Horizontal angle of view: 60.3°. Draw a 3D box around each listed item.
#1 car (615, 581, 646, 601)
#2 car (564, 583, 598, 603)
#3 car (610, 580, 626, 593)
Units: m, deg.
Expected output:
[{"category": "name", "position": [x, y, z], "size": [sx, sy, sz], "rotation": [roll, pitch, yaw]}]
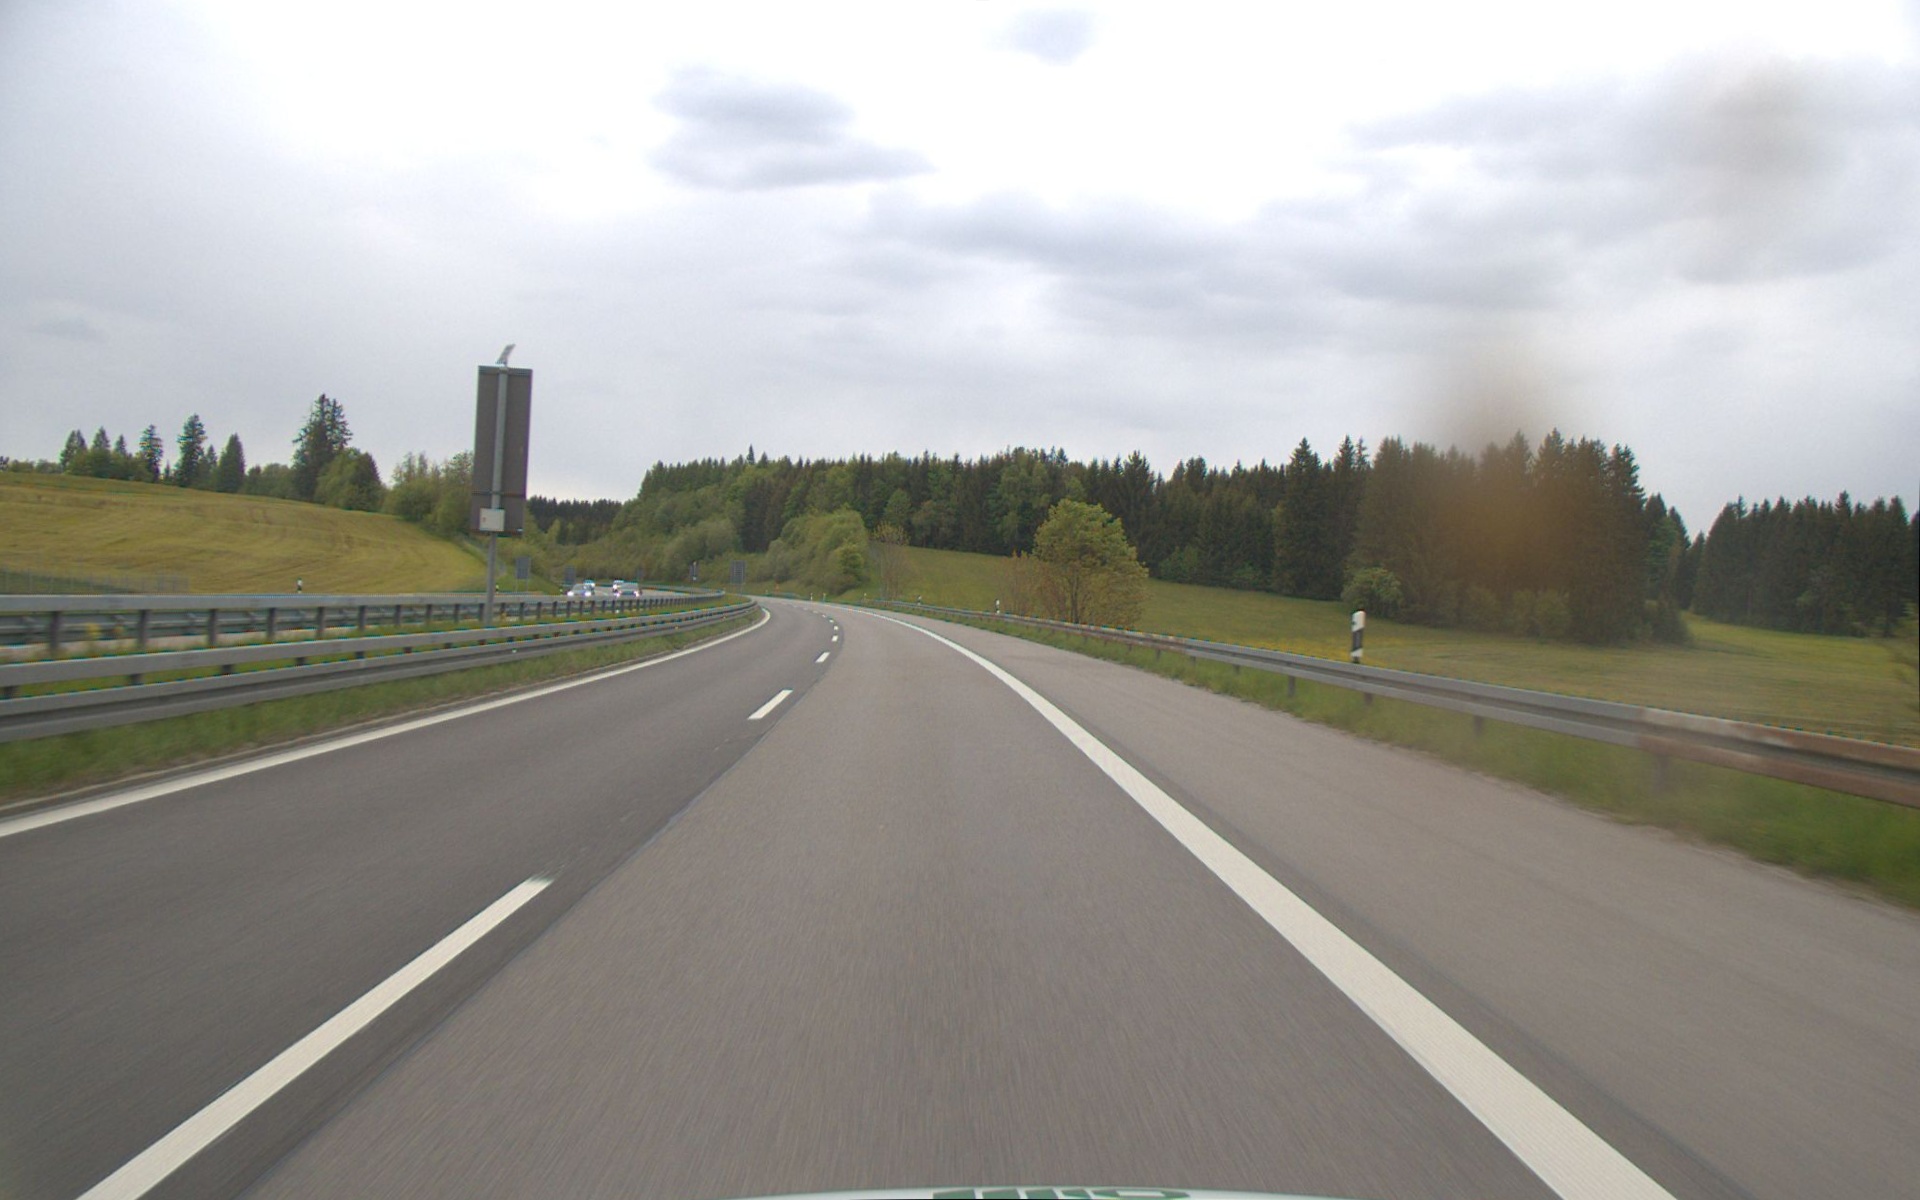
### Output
[{"category": "car", "position": [-25.467, -0.708, 127.932], "size": [1.956, 1.442, 3.994], "rotation": [4, 0, -7]}, {"category": "car", "position": [-30.067, -0.574, 131.306], "size": [1.956, 1.465, 4.993], "rotation": [4, 0, -7]}, {"category": "car", "position": [-52.025, -2.110, 251.812], "size": [1.961, 1.715, 4.608], "rotation": [4, 0, -16]}]
